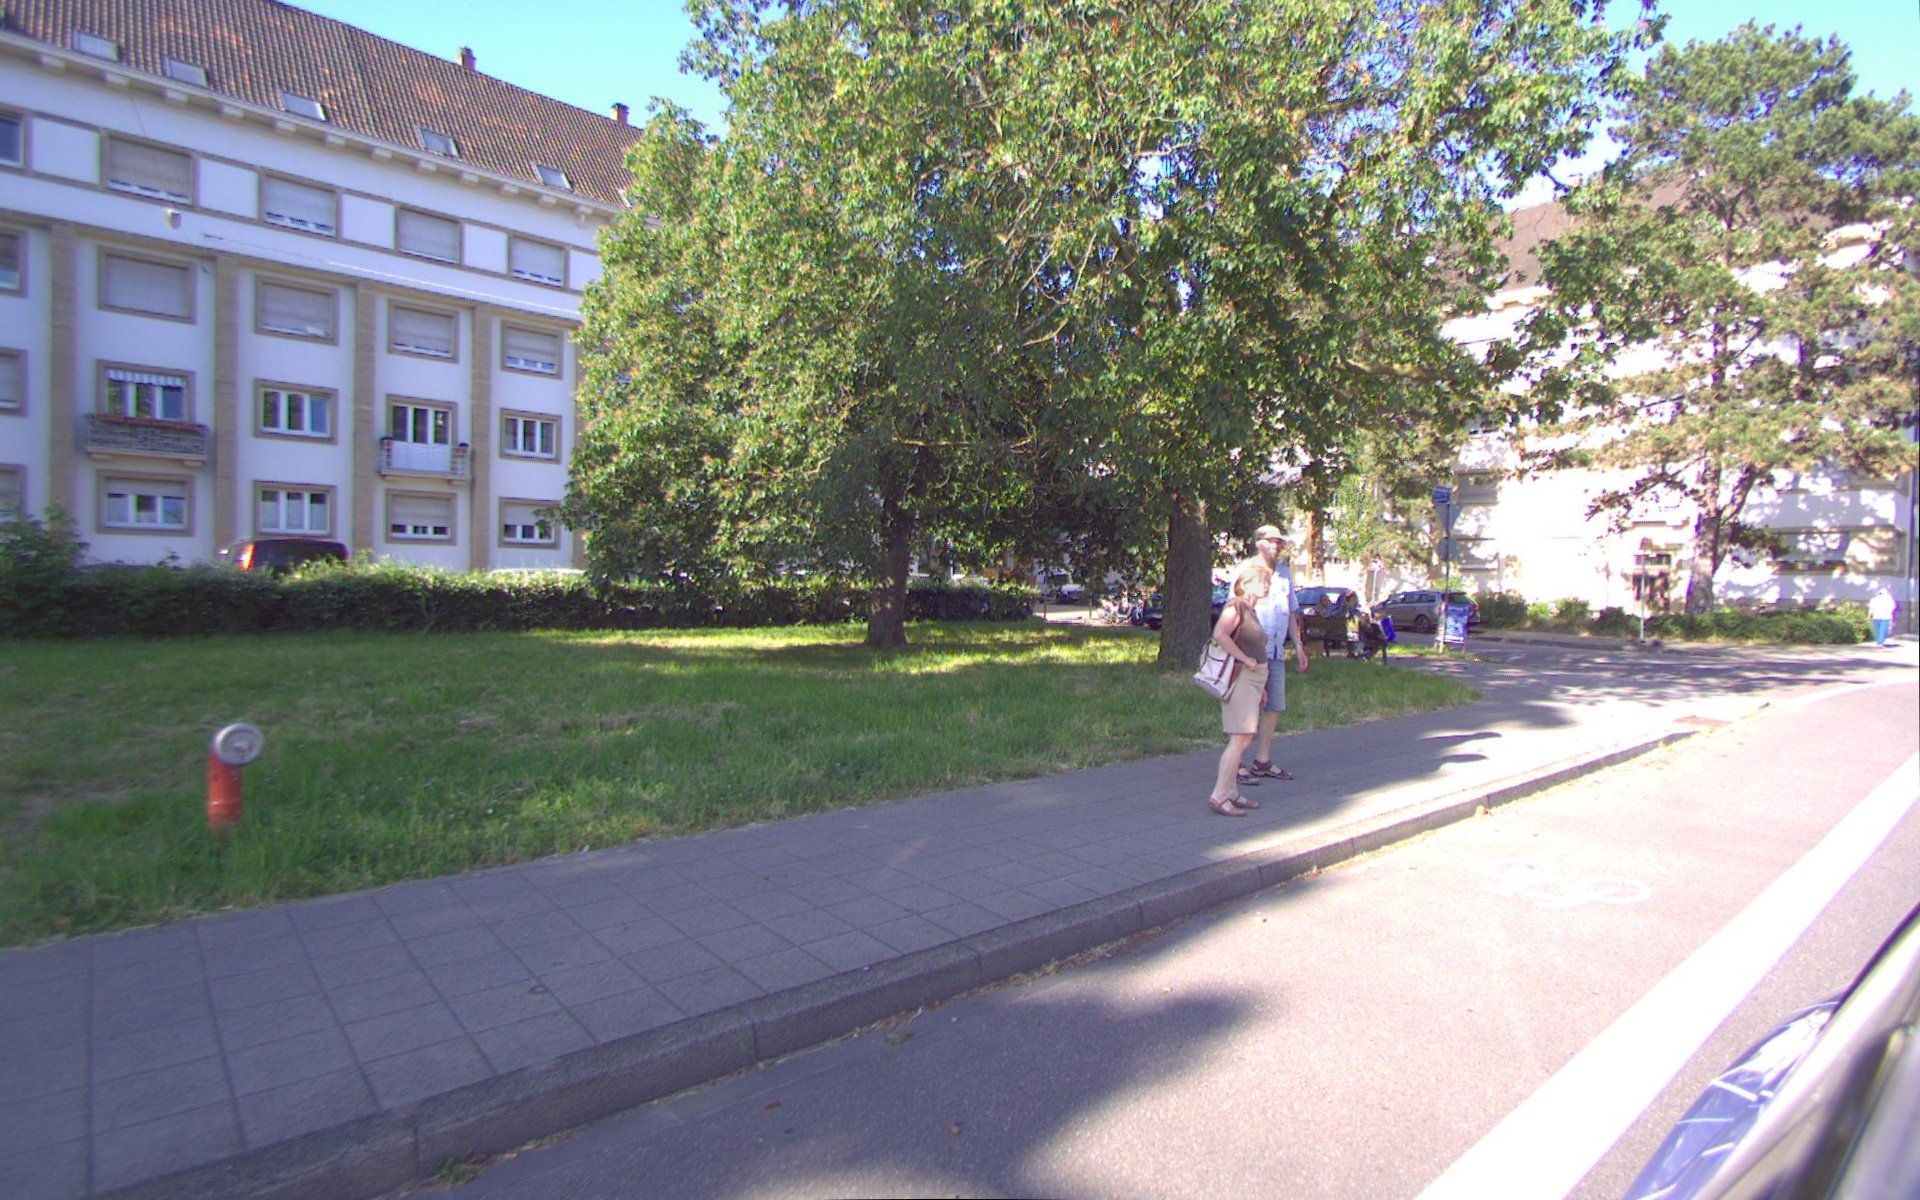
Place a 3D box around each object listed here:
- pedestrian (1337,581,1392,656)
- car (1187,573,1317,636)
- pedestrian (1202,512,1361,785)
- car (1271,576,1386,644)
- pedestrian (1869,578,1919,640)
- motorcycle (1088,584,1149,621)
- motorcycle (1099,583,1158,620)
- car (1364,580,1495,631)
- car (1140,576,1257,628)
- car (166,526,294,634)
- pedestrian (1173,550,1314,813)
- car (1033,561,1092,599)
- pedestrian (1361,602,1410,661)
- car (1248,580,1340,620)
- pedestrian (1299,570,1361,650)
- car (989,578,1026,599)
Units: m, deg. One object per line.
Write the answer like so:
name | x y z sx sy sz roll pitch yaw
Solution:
pedestrian | 6.885 0.307 17.227 0.745 1.242 0.405 0 -1 -14
car | 8.079 0.111 27.897 3.738 1.591 1.456 0 2 -37
pedestrian | 2.275 0.308 7.194 0.681 1.811 0.706 2 2 -35
car | 9.256 0.206 25.275 1.632 1.512 3.757 3 2 37
pedestrian | 27.236 0.249 29.512 0.711 1.743 0.883 1 1 -35
motorcycle | 5.156 0.079 33.003 1.772 1.085 0.705 5 2 34
motorcycle | 5.593 0.049 33.682 1.772 1.085 0.705 5 2 34
car | 16.398 0.131 35.610 1.733 1.519 4.316 -2 3 -17
car | 7.416 0.038 31.221 1.636 1.458 4.175 3 2 43
car | -13.806 -0.308 19.047 1.736 1.817 3.995 0 -1 -39
pedestrian | 1.775 0.469 6.354 0.615 1.547 0.531 0 3 -35
car | 7.048 -1.357 70.396 2.081 2.474 5.328 0 -1 -18
pedestrian | 7.052 0.523 16.780 0.610 0.946 0.405 2 -2 -14
car | 14.194 -0.046 43.257 1.732 1.487 3.922 1 2 -17
pedestrian | 6.515 0.173 17.836 0.739 1.391 0.688 0 -1 -14
car | 3.854 -0.911 83.476 1.762 1.631 4.007 0 -1 -18
